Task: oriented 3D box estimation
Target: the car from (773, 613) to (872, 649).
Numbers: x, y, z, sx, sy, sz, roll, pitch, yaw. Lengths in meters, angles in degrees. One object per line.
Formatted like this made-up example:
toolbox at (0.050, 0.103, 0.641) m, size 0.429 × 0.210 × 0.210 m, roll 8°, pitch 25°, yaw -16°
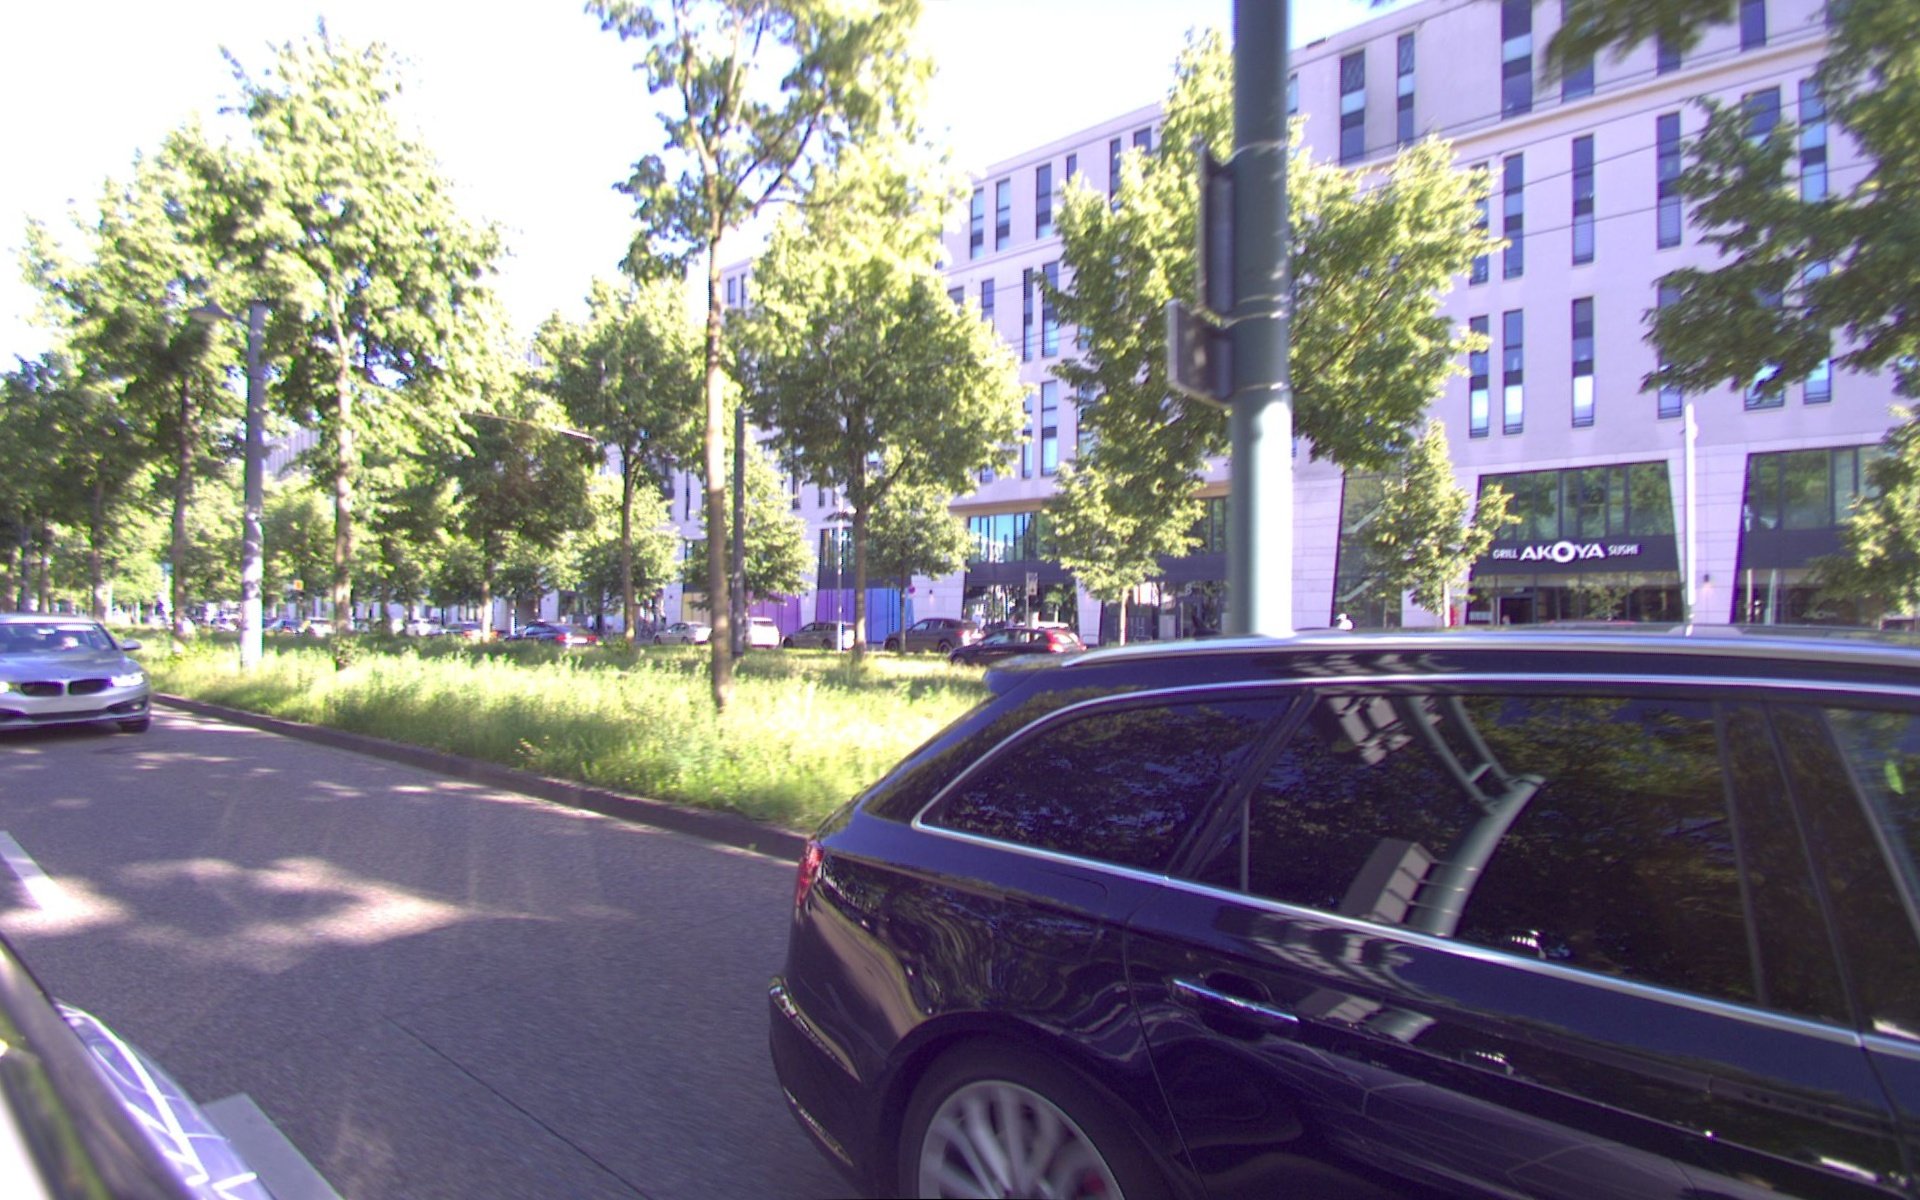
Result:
car at (-6.300, 1.377, 46.157) m, size 4.451 × 1.452 × 1.974 m, roll 0°, pitch 1°, yaw 39°

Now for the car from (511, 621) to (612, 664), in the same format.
car at (-15.476, 1.595, 39.217) m, size 4.457 × 1.452 × 1.971 m, roll 0°, pitch 1°, yaw 44°

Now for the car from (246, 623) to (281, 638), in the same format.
car at (-70.753, 3.102, 102.764) m, size 4.331 × 1.424 × 1.707 m, roll -1°, pitch -2°, yaw 38°

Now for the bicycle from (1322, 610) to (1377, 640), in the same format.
bicycle at (13.727, 0.883, 35.723) m, size 1.800 × 1.024 × 0.375 m, roll 0°, pitch 0°, yaw 43°

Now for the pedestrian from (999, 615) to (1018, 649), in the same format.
pedestrian at (2.443, 1.588, 50.874) m, size 0.719 × 1.663 × 0.629 m, roll 0°, pitch 0°, yaw 39°

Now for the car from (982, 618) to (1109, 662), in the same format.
car at (3.168, 1.460, 37.993) m, size 4.451 × 1.452 × 1.974 m, roll 0°, pitch 1°, yaw 39°

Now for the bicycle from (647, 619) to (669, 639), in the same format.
bicycle at (-20.310, 1.918, 68.031) m, size 1.607 × 1.290 × 0.592 m, roll 0°, pitch 0°, yaw 39°

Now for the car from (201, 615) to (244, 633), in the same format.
car at (-63.353, 2.049, 86.900) m, size 5.109 × 1.452 × 1.972 m, roll 0°, pitch 1°, yaw 42°

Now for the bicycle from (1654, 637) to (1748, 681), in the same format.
bicycle at (22.300, 1.748, 30.466) m, size 2.239 × 1.207 × 0.726 m, roll 0°, pitch 0°, yaw 41°

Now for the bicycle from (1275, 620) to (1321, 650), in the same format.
bicycle at (12.002, 1.222, 35.968) m, size 1.484 × 1.024 × 0.425 m, roll 0°, pitch 0°, yaw 43°

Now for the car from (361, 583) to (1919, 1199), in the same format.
car at (0.364, 0.742, 2.714) m, size 5.083 × 1.491 × 1.932 m, roll -1°, pitch 0°, yaw 42°

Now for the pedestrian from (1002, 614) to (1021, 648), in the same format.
pedestrian at (2.633, 1.578, 51.774) m, size 0.718 × 1.663 × 0.630 m, roll 0°, pitch 0°, yaw 34°

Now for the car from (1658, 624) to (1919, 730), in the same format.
car at (14.361, 1.212, 16.926) m, size 4.167 × 1.583 × 1.971 m, roll -1°, pitch -1°, yaw 44°

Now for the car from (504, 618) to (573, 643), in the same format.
car at (-26.861, 1.932, 64.428) m, size 4.920 × 1.452 × 1.974 m, roll 0°, pitch 1°, yaw 39°

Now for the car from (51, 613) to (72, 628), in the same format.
car at (-128.505, 2.890, 144.704) m, size 4.001 × 2.029 × 1.971 m, roll 0°, pitch 1°, yaw 44°

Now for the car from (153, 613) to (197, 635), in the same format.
car at (-66.025, 1.972, 85.053) m, size 5.108 × 1.698 × 1.973 m, roll 0°, pitch 1°, yaw 41°

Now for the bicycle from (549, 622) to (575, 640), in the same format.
bicycle at (-30.016, 2.332, 76.341) m, size 0.935 × 1.290 × 2.775 m, roll -1°, pitch 1°, yaw -42°

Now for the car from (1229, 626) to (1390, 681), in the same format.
car at (10.671, 1.575, 31.071) m, size 4.264 × 1.452 × 1.937 m, roll 0°, pitch 1°, yaw 42°

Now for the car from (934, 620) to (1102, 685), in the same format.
car at (1.534, 1.366, 27.746) m, size 4.317 × 1.539 × 1.973 m, roll 0°, pitch 1°, yaw 41°

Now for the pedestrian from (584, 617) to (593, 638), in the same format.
pedestrian at (-28.655, 2.105, 78.047) m, size 0.494 × 1.561 × 0.522 m, roll -1°, pitch 0°, yaw -7°

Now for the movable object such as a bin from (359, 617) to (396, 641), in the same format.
movable object such as a bin at (-46.534, 2.288, 80.883) m, size 2.008 × 1.808 × 1.951 m, roll 0°, pitch 1°, yaw 39°

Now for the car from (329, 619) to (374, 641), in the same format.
car at (-52.127, 2.510, 86.658) m, size 4.334 × 1.742 × 1.974 m, roll 0°, pitch 1°, yaw 39°

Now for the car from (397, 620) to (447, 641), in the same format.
car at (-40.537, 2.246, 76.204) m, size 4.015 × 1.452 × 1.974 m, roll 0°, pitch 1°, yaw 39°

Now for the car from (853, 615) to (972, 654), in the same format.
car at (-2.037, 1.390, 42.259) m, size 4.931 × 1.452 × 1.974 m, roll 0°, pitch 1°, yaw 39°

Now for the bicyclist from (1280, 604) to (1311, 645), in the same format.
bicyclist at (11.929, 0.861, 36.026) m, size 0.956 × 1.429 × 0.425 m, roll 0°, pitch 0°, yaw 43°

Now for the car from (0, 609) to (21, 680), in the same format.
car at (-22.944, 0.997, 23.130) m, size 4.001 × 1.534 × 1.925 m, roll 0°, pitch 1°, yaw 43°

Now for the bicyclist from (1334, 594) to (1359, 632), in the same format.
bicyclist at (13.665, 0.463, 35.775) m, size 0.719 × 1.313 × 0.364 m, roll 0°, pitch 0°, yaw 43°

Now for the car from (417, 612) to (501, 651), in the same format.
car at (-25.280, 1.557, 50.955) m, size 5.248 × 1.855 × 1.972 m, roll -1°, pitch -1°, yaw 42°

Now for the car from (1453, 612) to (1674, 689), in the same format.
car at (15.791, 1.252, 26.625) m, size 4.771 × 1.785 × 1.974 m, roll 0°, pitch 1°, yaw 39°

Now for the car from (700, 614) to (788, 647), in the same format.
car at (-10.644, 1.478, 49.825) m, size 4.454 × 1.452 × 1.973 m, roll 0°, pitch 1°, yaw 41°

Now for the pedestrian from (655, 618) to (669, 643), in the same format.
pedestrian at (-20.539, 2.117, 69.842) m, size 0.719 × 1.663 × 0.629 m, roll 0°, pitch 0°, yaw 39°

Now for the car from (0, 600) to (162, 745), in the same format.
car at (-11.923, 0.817, 13.030) m, size 4.276 × 1.590 × 1.862 m, roll 0°, pitch 1°, yaw 42°

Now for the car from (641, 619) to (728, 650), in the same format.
car at (-14.513, 1.762, 53.223) m, size 4.774 × 1.452 × 1.974 m, roll 0°, pitch 1°, yaw 39°

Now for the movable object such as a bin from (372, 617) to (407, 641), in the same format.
movable object such as a bin at (-44.910, 2.280, 79.619) m, size 1.554 × 1.808 × 1.951 m, roll 0°, pitch 0°, yaw 39°

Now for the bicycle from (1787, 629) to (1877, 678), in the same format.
bicycle at (24.551, 1.495, 28.525) m, size 0.579 × 1.262 × 1.846 m, roll -1°, pitch 0°, yaw -27°

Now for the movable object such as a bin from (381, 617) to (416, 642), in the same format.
movable object such as a bin at (-43.537, 2.274, 78.453) m, size 1.554 × 1.808 × 1.951 m, roll 0°, pitch 0°, yaw 39°
